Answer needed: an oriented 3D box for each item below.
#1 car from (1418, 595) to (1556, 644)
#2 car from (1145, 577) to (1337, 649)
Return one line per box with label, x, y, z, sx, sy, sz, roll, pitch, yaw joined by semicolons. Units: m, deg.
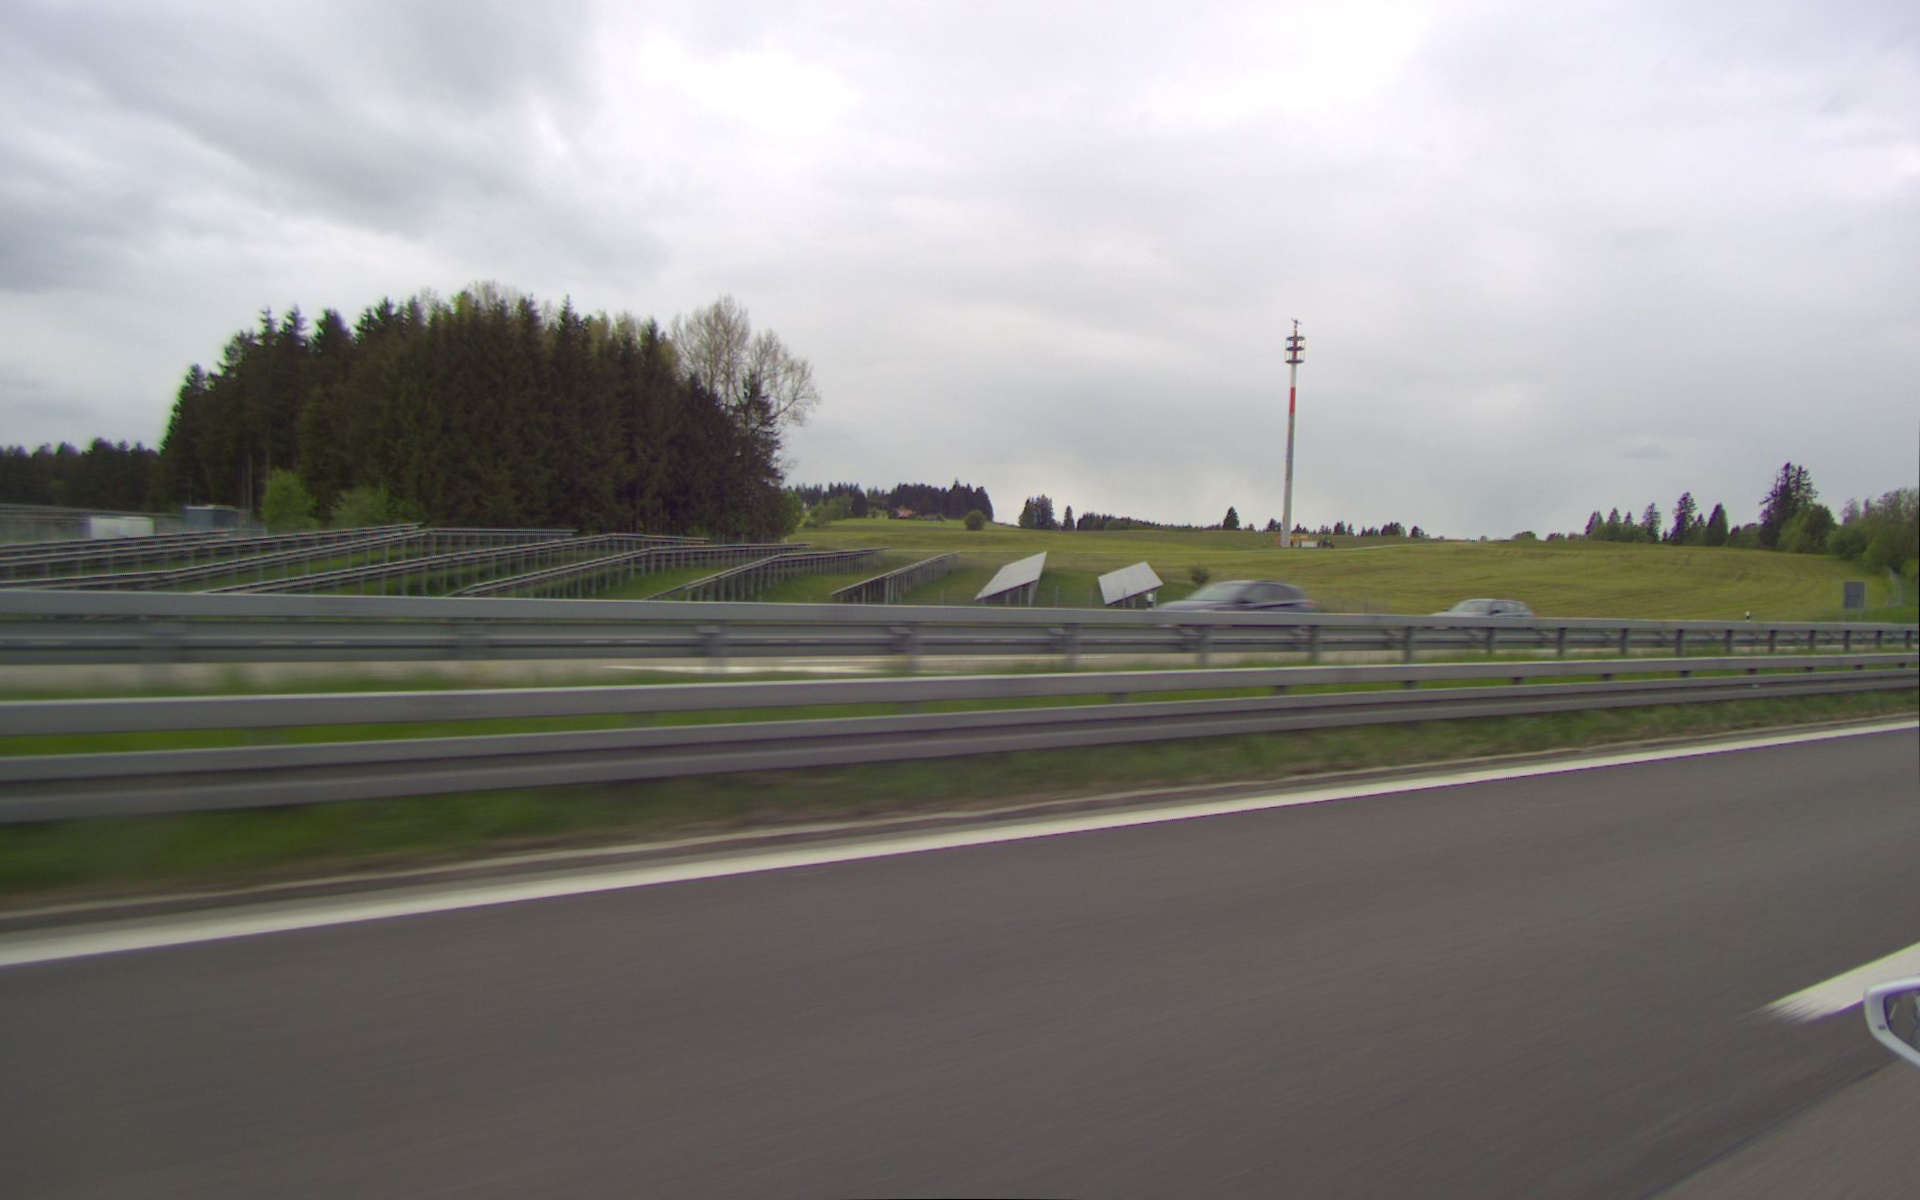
car;18.251;0.651;34.745;4.944;1.459;1.982;1;3;-32
car;6.431;0.280;22.987;3.951;1.436;1.984;1;3;-29
